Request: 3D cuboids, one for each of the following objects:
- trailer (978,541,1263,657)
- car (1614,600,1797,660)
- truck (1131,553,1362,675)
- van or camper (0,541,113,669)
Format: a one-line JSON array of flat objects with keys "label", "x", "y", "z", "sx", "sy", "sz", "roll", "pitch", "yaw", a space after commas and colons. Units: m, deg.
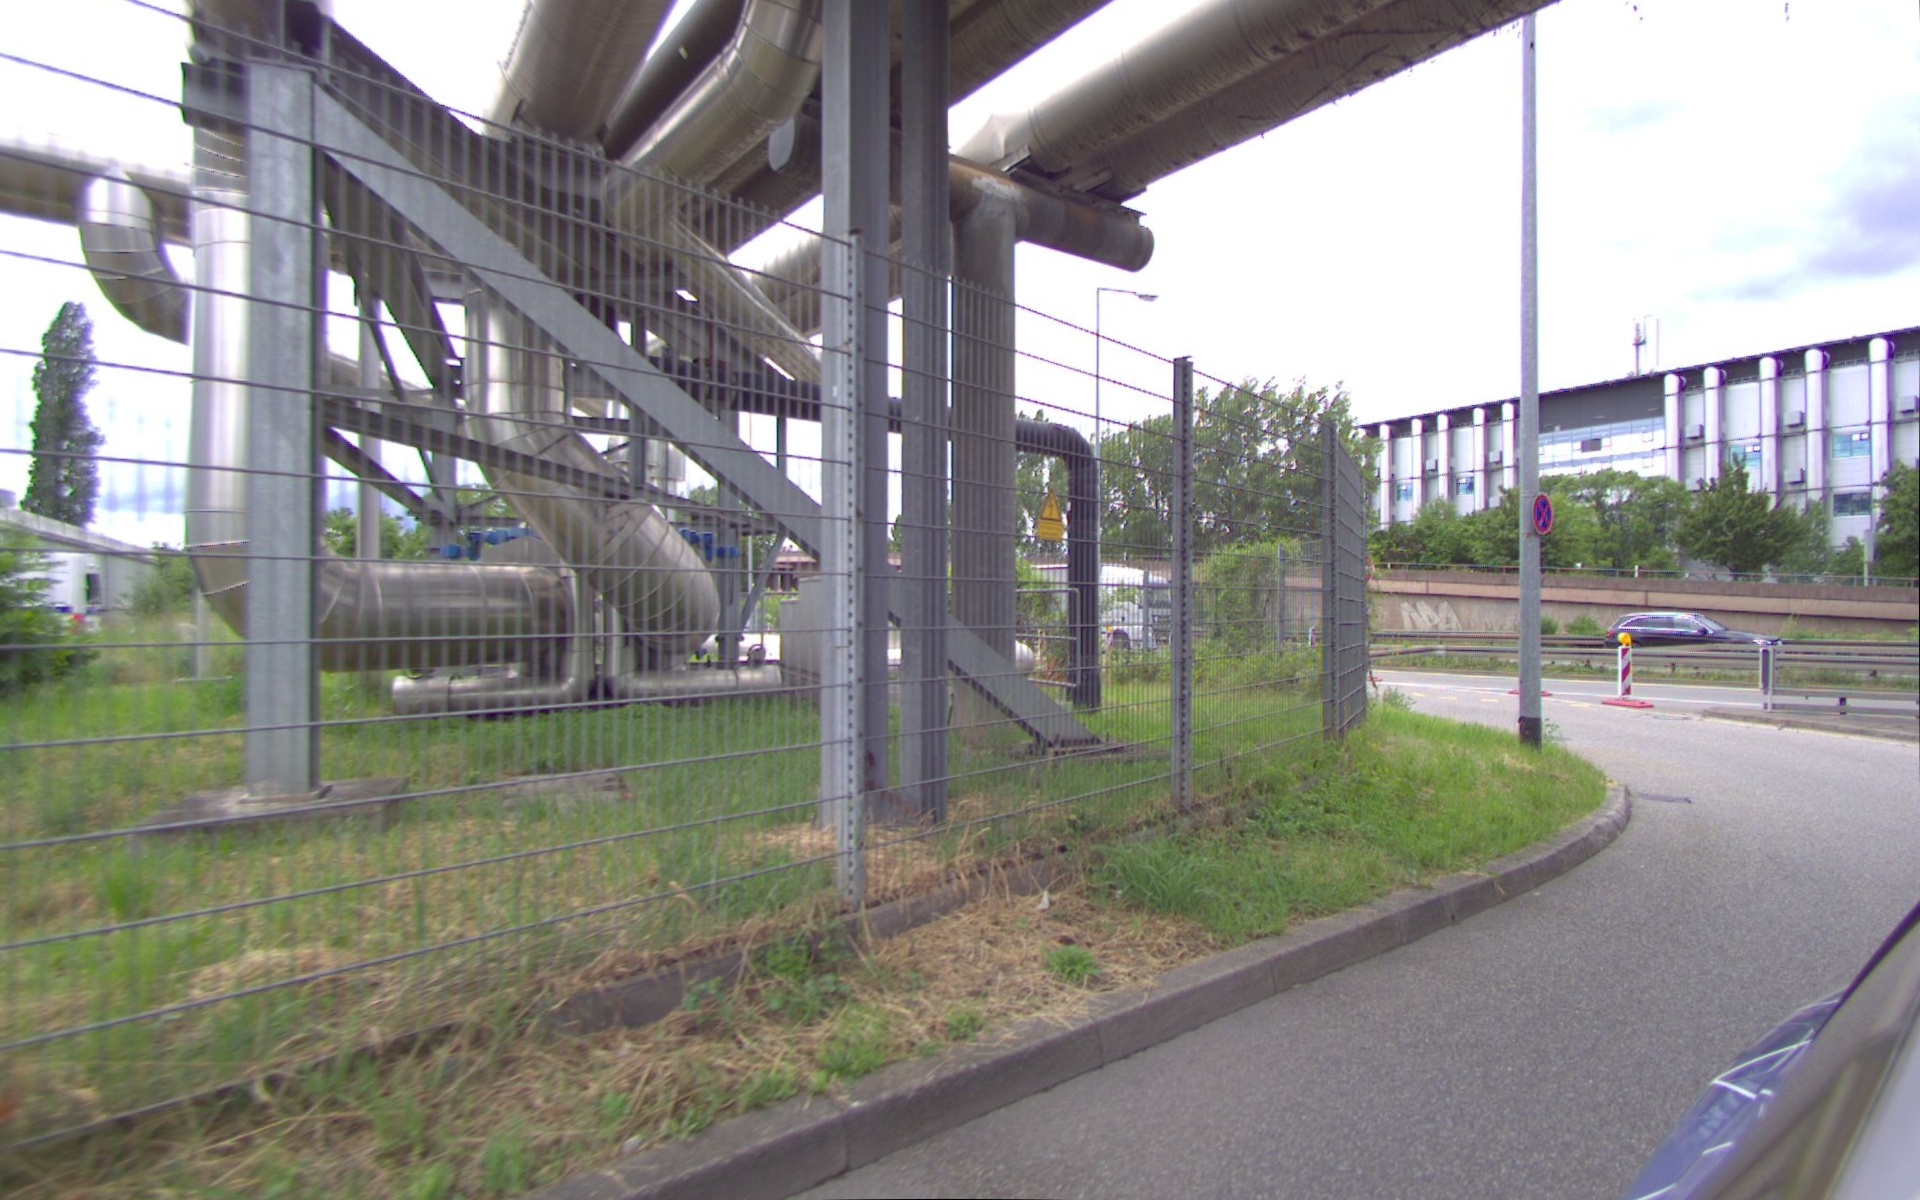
[{"label": "trailer", "x": 6.474, "y": -0.036, "z": 44.220, "sx": 3.113, "sy": 4.378, "sz": 13.237, "roll": -2, "pitch": 1, "yaw": -42}, {"label": "car", "x": 23.341, "y": 0.881, "z": 31.791, "sx": 1.949, "sy": 1.528, "sz": 4.284, "roll": -8, "pitch": 5, "yaw": -41}, {"label": "truck", "x": 10.898, "y": 0.469, "z": 39.232, "sx": 3.112, "sy": 4.182, "sz": 8.123, "roll": -3, "pitch": 1, "yaw": -42}, {"label": "van or camper", "x": -21.338, "y": 0.092, "z": 20.527, "sx": 6.005, "sy": 2.581, "sz": 2.577, "roll": 0, "pitch": 0, "yaw": -31}]
